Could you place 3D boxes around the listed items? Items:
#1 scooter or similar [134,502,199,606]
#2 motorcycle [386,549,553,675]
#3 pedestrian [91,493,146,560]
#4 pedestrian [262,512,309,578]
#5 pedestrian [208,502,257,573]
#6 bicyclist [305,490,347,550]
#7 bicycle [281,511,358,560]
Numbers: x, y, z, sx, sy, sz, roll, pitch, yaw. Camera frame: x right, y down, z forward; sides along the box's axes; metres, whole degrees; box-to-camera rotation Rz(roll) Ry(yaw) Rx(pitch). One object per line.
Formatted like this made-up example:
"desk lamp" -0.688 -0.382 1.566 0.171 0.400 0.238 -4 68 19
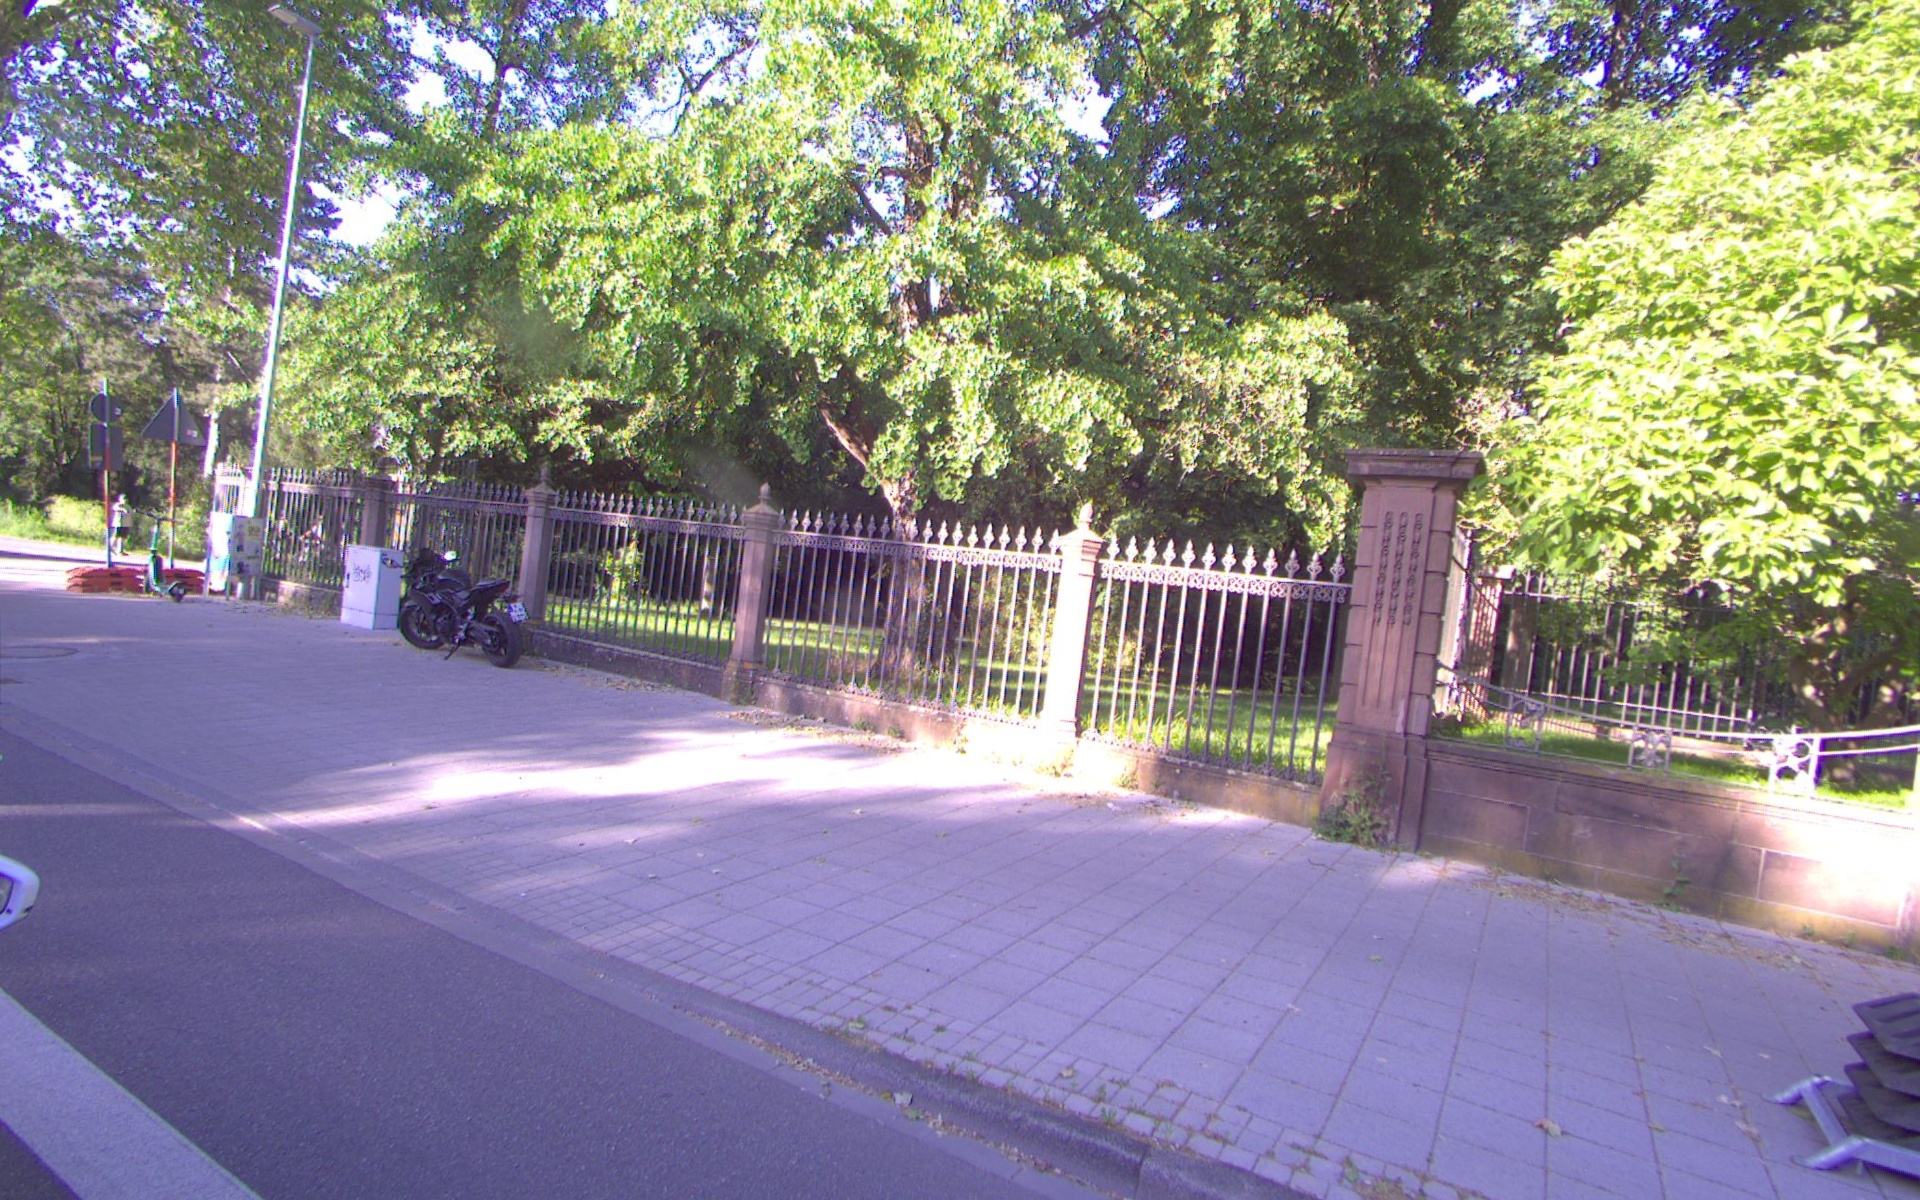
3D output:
"scooter or similar" -11.185 -0.657 14.173 1.152 1.344 0.228 7 2 30
"motorcycle" -5.456 0.110 11.134 2.134 1.146 0.506 7 2 30
"pedestrian" -20.945 -1.834 25.038 0.904 1.536 0.817 7 -1 42
"pedestrian" -18.728 -1.528 27.918 0.823 1.702 0.685 7 0 -45
"pedestrian" -18.889 -1.619 26.127 0.633 1.719 0.690 7 0 31
"bicyclist" -16.699 -2.092 26.507 0.777 1.448 0.660 7 -1 -33
"bicycle" -16.821 -1.689 26.458 1.606 1.027 0.471 8 -1 -33
